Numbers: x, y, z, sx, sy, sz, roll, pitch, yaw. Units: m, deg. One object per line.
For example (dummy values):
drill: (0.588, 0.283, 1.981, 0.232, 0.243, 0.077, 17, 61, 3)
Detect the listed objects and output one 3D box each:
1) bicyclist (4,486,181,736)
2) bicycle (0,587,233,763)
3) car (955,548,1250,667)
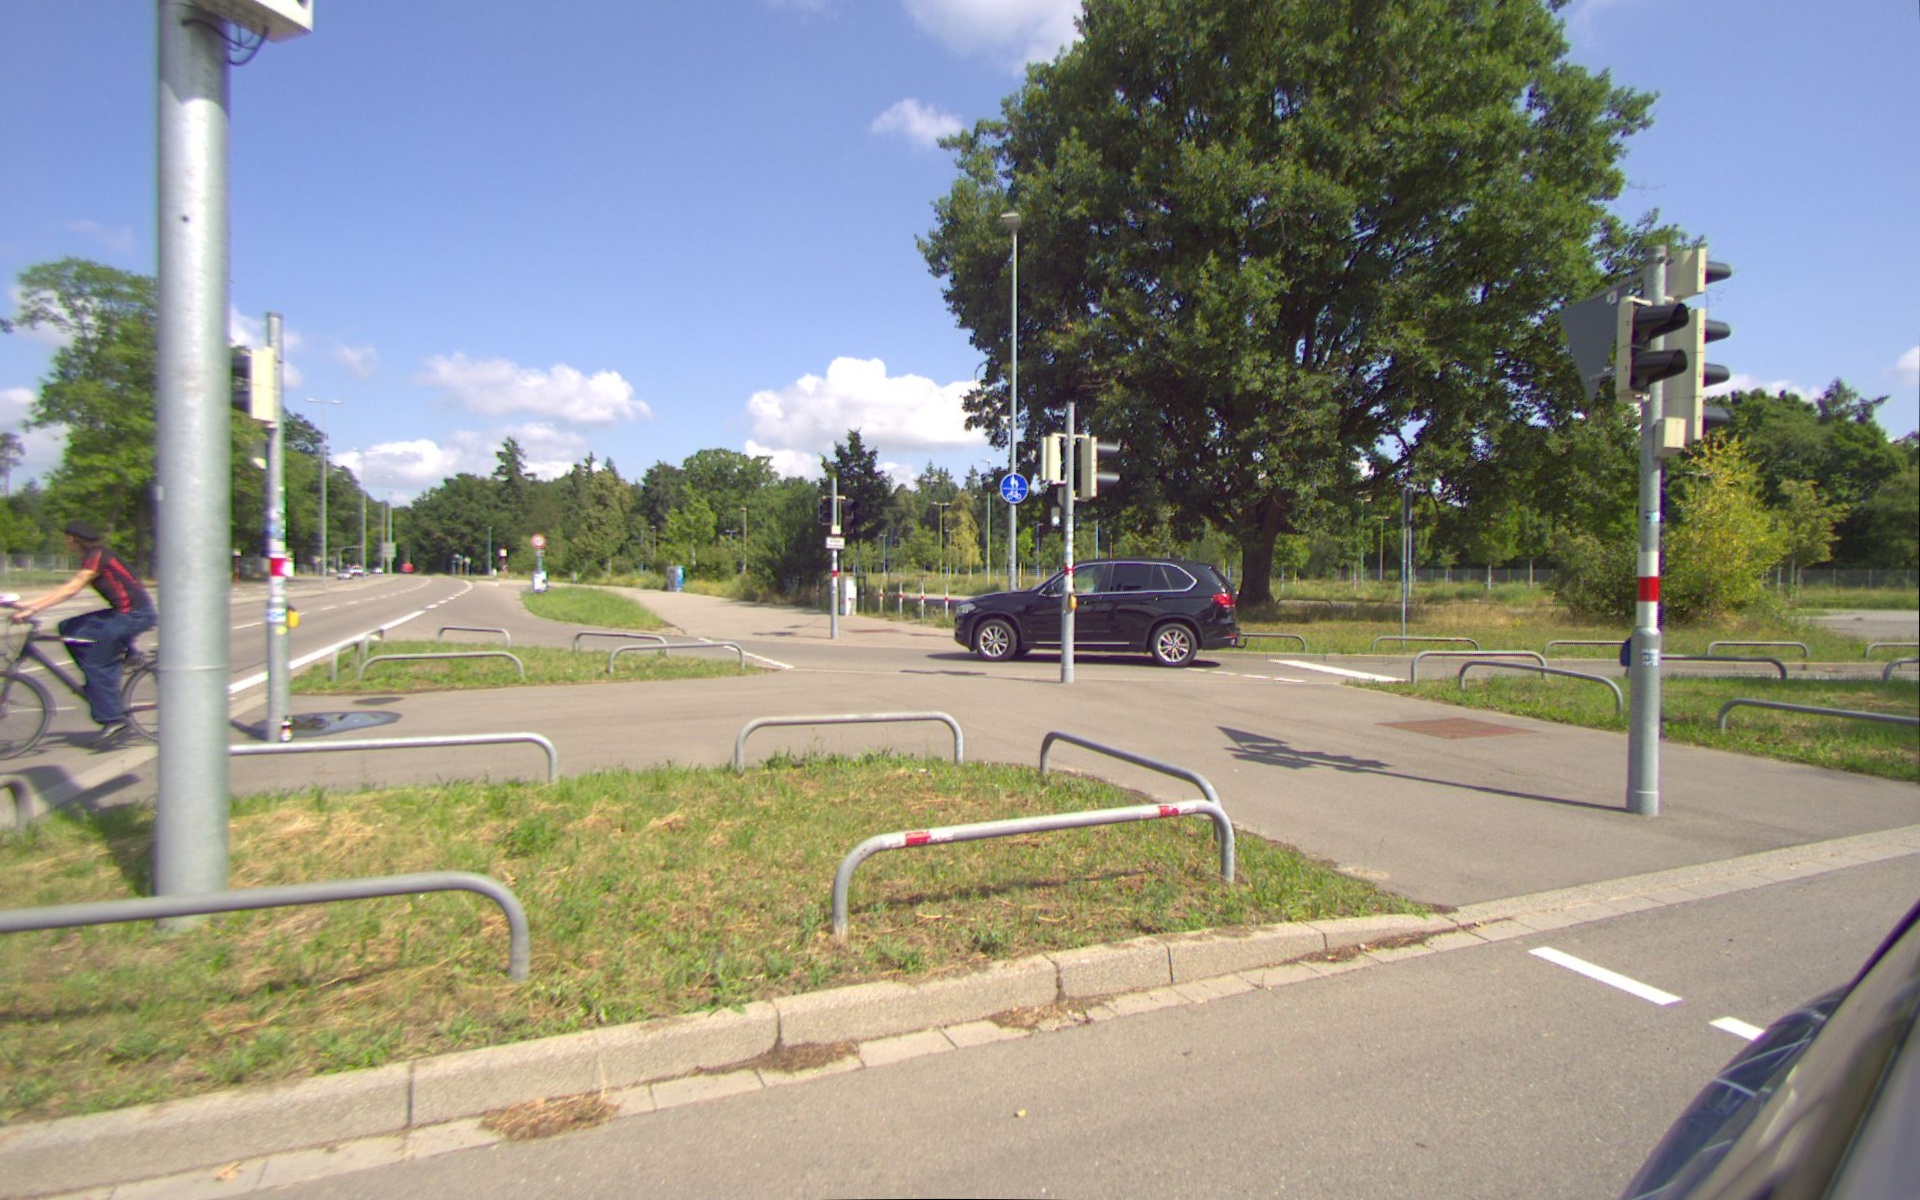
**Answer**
bicyclist: (-6.795, 0.052, 7.998, 0.961, 1.819, 0.887, -2, 3, -38)
bicycle: (-6.889, 0.542, 7.939, 1.863, 1.221, 0.883, -3, 3, -39)
car: (2.398, 0.055, 16.948, 4.640, 1.786, 1.973, 1, 2, 15)
